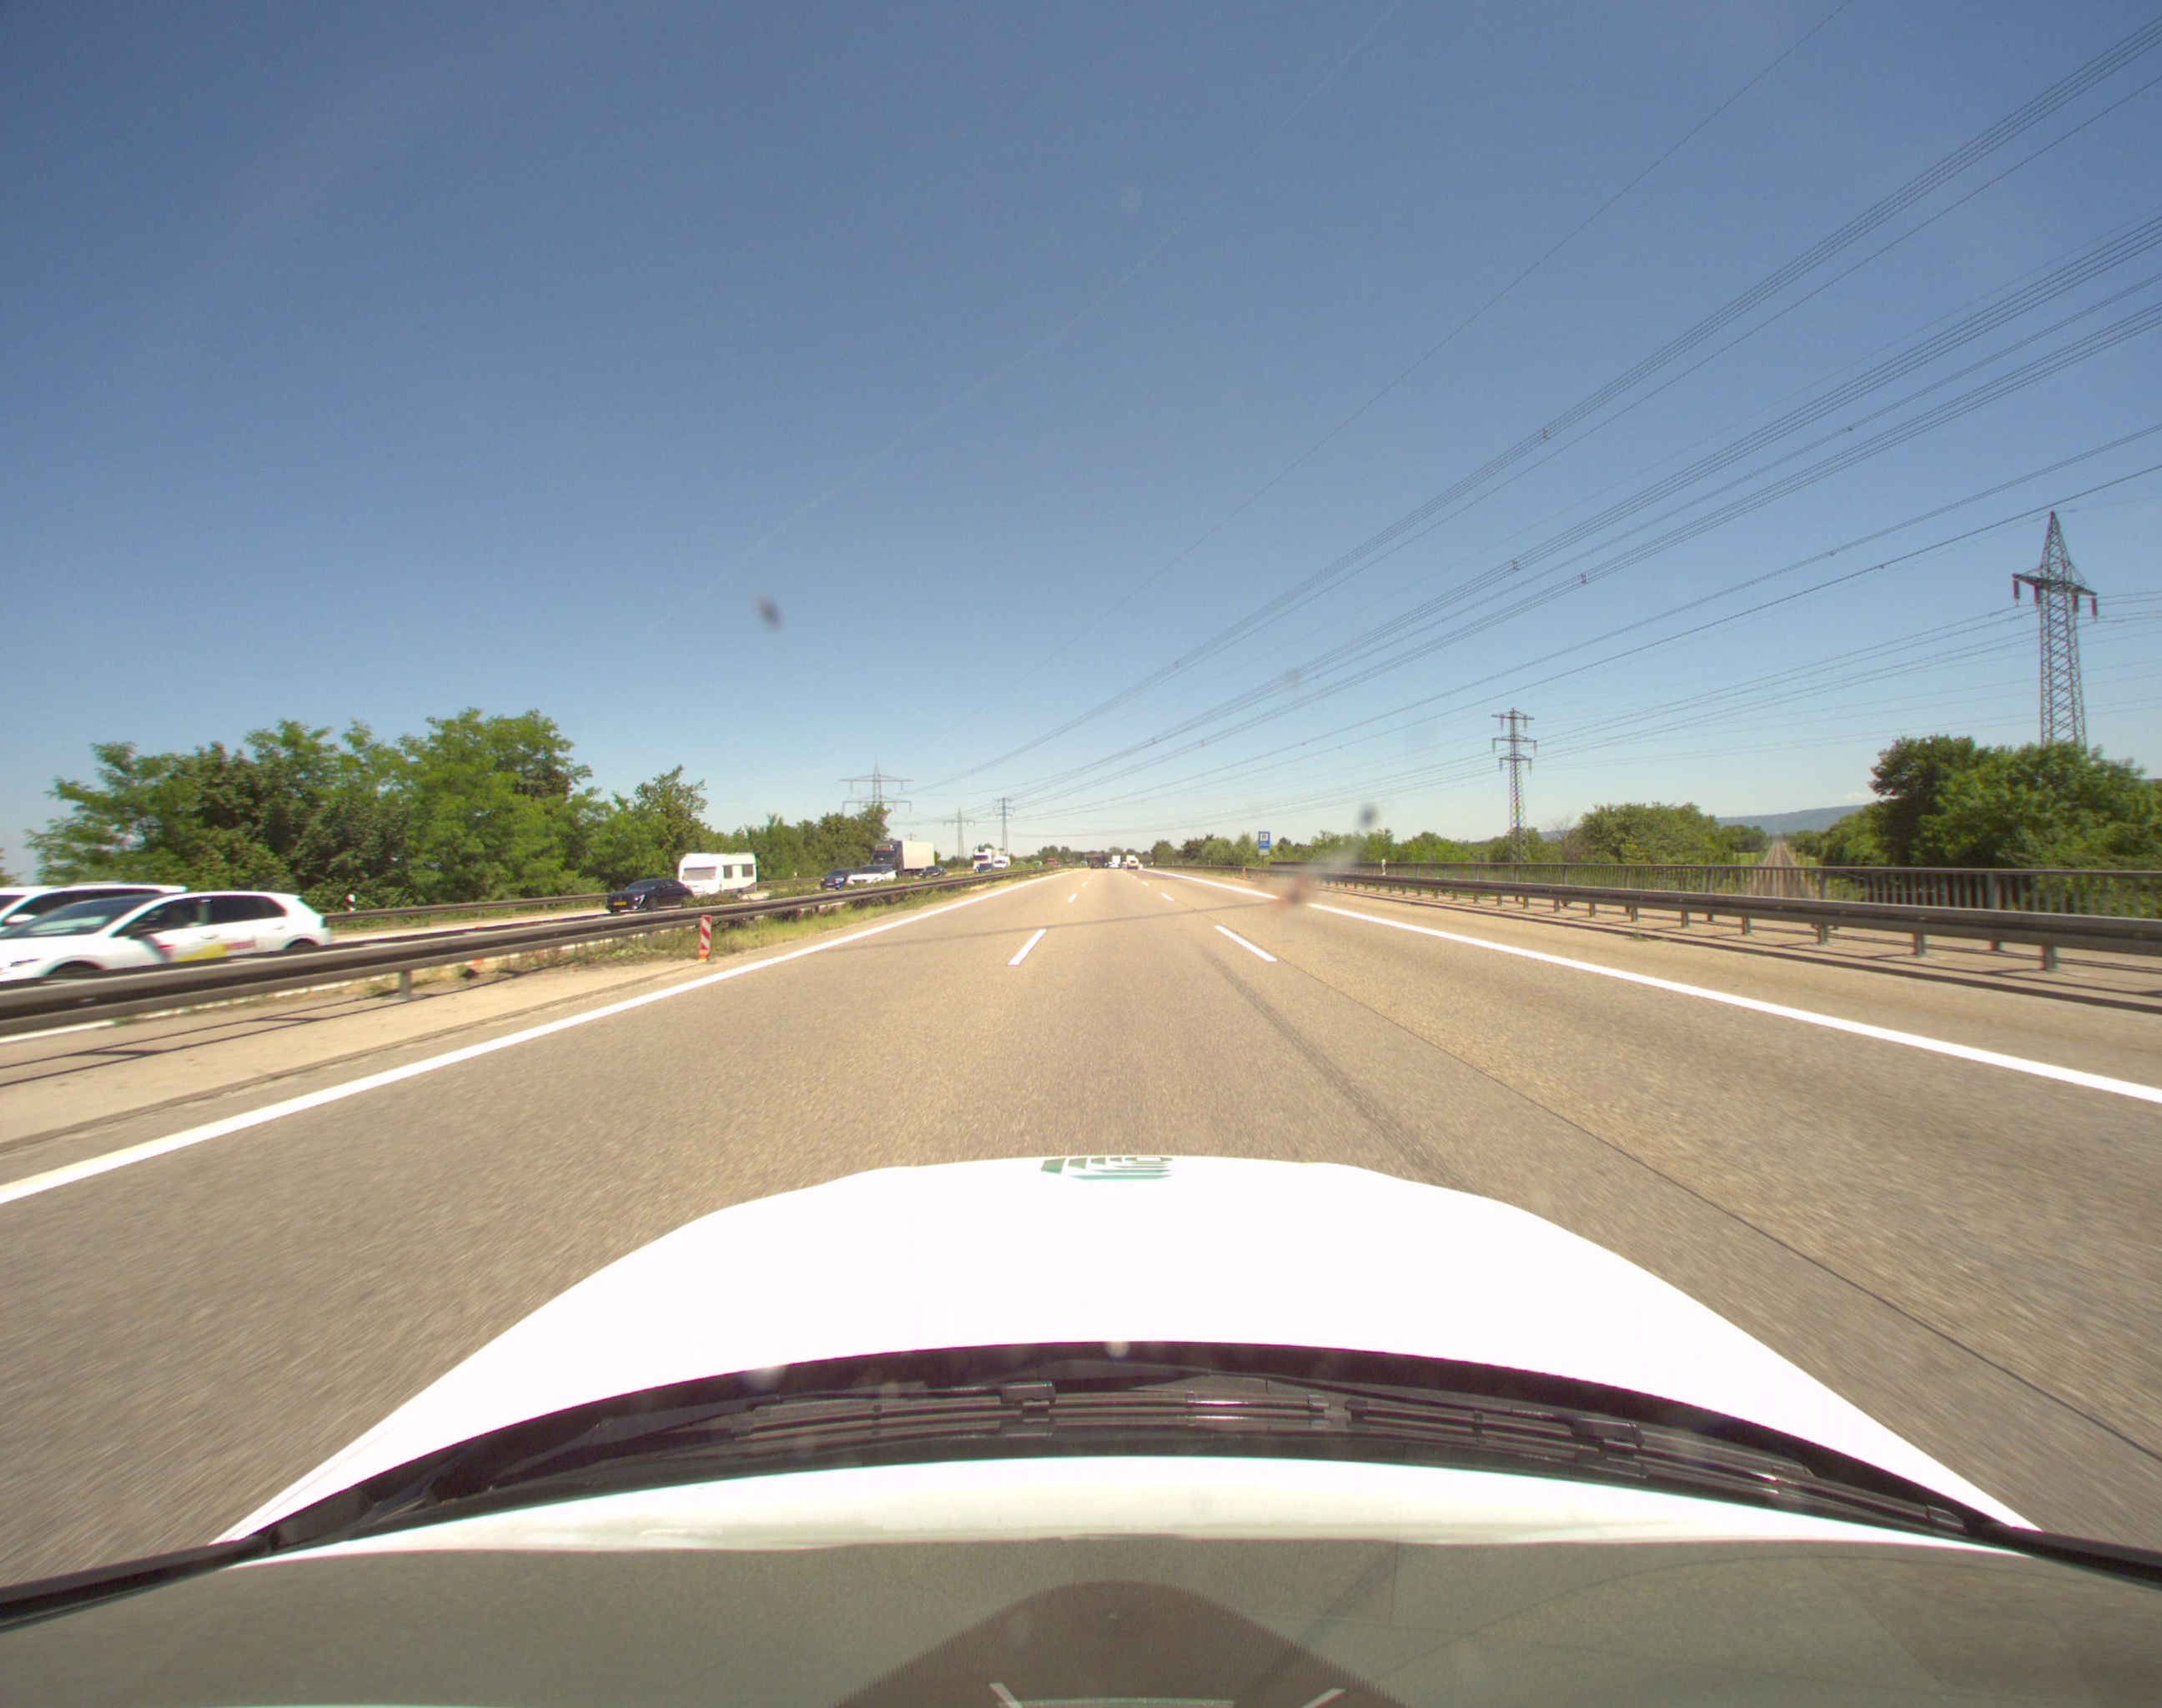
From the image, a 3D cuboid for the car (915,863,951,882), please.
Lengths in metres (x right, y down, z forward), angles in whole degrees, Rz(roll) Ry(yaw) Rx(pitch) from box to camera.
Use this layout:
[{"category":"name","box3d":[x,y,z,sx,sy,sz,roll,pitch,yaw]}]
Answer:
[{"category":"car","box3d":[-13.749,1.724,75.994,2.378,1.640,4.822,0,0,2]}]

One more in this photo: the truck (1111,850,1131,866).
[{"category":"truck","box3d":[12.777,1.255,256.848,3.642,5.018,16.070,0,0,12]}]

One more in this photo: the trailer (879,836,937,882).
[{"category":"trailer","box3d":[-17.533,0.454,83.737,2.414,4.289,14.438,0,0,2]}]

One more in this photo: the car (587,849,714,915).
[{"category":"car","box3d":[-19.065,1.160,36.507,2.409,2.614,5.719,-2,0,2]}]

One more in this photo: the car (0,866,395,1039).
[{"category":"car","box3d":[-12.631,1.142,11.105,2.067,1.791,5.110,-2,0,2]}]

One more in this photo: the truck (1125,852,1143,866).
[{"category":"truck","box3d":[16.737,1.566,254.022,3.159,4.304,16.072,0,0,13]}]

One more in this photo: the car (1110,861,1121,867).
[{"category":"car","box3d":[8.576,2.515,201.119,1.814,1.547,4.337,0,-1,16]}]

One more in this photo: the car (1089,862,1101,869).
[{"category":"car","box3d":[3.265,2.569,188.638,1.816,1.547,4.333,0,-1,12]}]

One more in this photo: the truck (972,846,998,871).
[{"category":"truck","box3d":[-15.756,0.757,134.556,2.682,3.950,10.597,0,0,2]}]

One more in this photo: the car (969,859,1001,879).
[{"category":"car","box3d":[-10.084,1.555,85.977,2.473,1.931,5.741,0,0,2]}]

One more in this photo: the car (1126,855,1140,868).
[{"category":"car","box3d":[9.989,1.450,155.565,2.433,2.321,5.324,-1,0,2]}]

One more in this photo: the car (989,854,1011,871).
[{"category":"car","box3d":[-12.394,1.312,125.029,2.473,2.579,7.124,0,0,2]}]

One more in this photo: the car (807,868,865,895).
[{"category":"car","box3d":[-17.280,1.929,57.796,2.473,1.637,4.752,-3,0,2]}]

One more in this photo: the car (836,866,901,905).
[{"category":"car","box3d":[-11.621,1.679,44.906,2.289,2.013,4.559,0,0,2]}]

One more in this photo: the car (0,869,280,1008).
[{"category":"car","box3d":[-15.761,1.226,12.326,2.067,1.831,5.110,-2,0,2]}]

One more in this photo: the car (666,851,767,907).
[{"category":"car","box3d":[-18.763,1.212,42.333,2.409,2.614,5.719,-2,0,2]}]

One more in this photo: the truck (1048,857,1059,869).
[{"category":"truck","box3d":[-8.882,2.889,261.315,2.759,3.527,8.538,0,0,3]}]

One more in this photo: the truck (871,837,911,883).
[{"category":"truck","box3d":[-17.779,0.559,76.366,2.414,4.111,4.922,0,0,2]}]

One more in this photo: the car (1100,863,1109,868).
[{"category":"car","box3d":[7.065,3.491,245.421,1.816,1.547,4.333,0,-1,12]}]
